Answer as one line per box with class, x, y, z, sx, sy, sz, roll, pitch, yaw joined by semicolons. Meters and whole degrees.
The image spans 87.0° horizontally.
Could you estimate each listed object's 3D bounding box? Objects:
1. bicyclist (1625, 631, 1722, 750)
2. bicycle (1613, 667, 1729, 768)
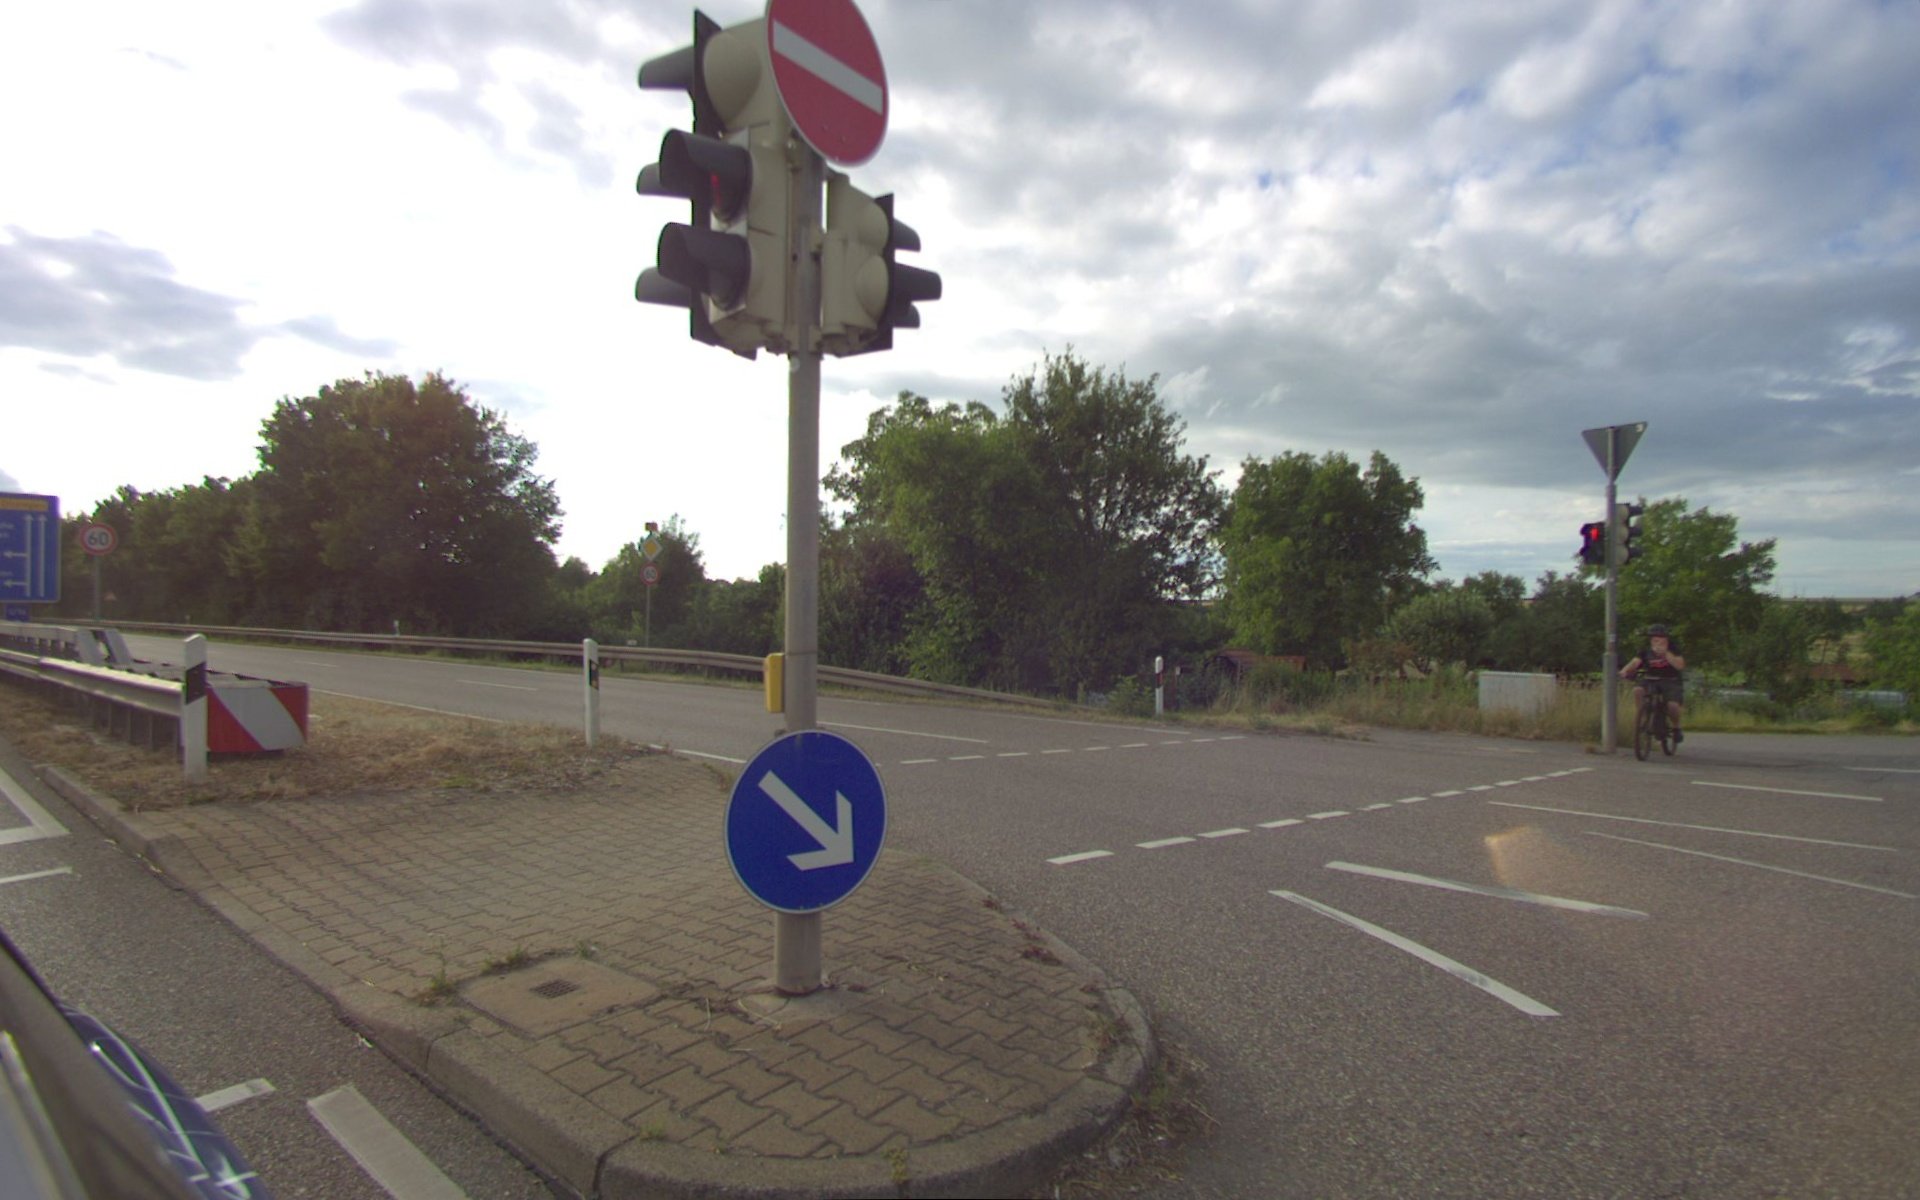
bicyclist;9.386;1.152;13.299;1.208;1.462;0.816;2;-2;-44
bicycle;9.352;1.482;13.276;2.292;1.146;0.816;2;-2;-44
